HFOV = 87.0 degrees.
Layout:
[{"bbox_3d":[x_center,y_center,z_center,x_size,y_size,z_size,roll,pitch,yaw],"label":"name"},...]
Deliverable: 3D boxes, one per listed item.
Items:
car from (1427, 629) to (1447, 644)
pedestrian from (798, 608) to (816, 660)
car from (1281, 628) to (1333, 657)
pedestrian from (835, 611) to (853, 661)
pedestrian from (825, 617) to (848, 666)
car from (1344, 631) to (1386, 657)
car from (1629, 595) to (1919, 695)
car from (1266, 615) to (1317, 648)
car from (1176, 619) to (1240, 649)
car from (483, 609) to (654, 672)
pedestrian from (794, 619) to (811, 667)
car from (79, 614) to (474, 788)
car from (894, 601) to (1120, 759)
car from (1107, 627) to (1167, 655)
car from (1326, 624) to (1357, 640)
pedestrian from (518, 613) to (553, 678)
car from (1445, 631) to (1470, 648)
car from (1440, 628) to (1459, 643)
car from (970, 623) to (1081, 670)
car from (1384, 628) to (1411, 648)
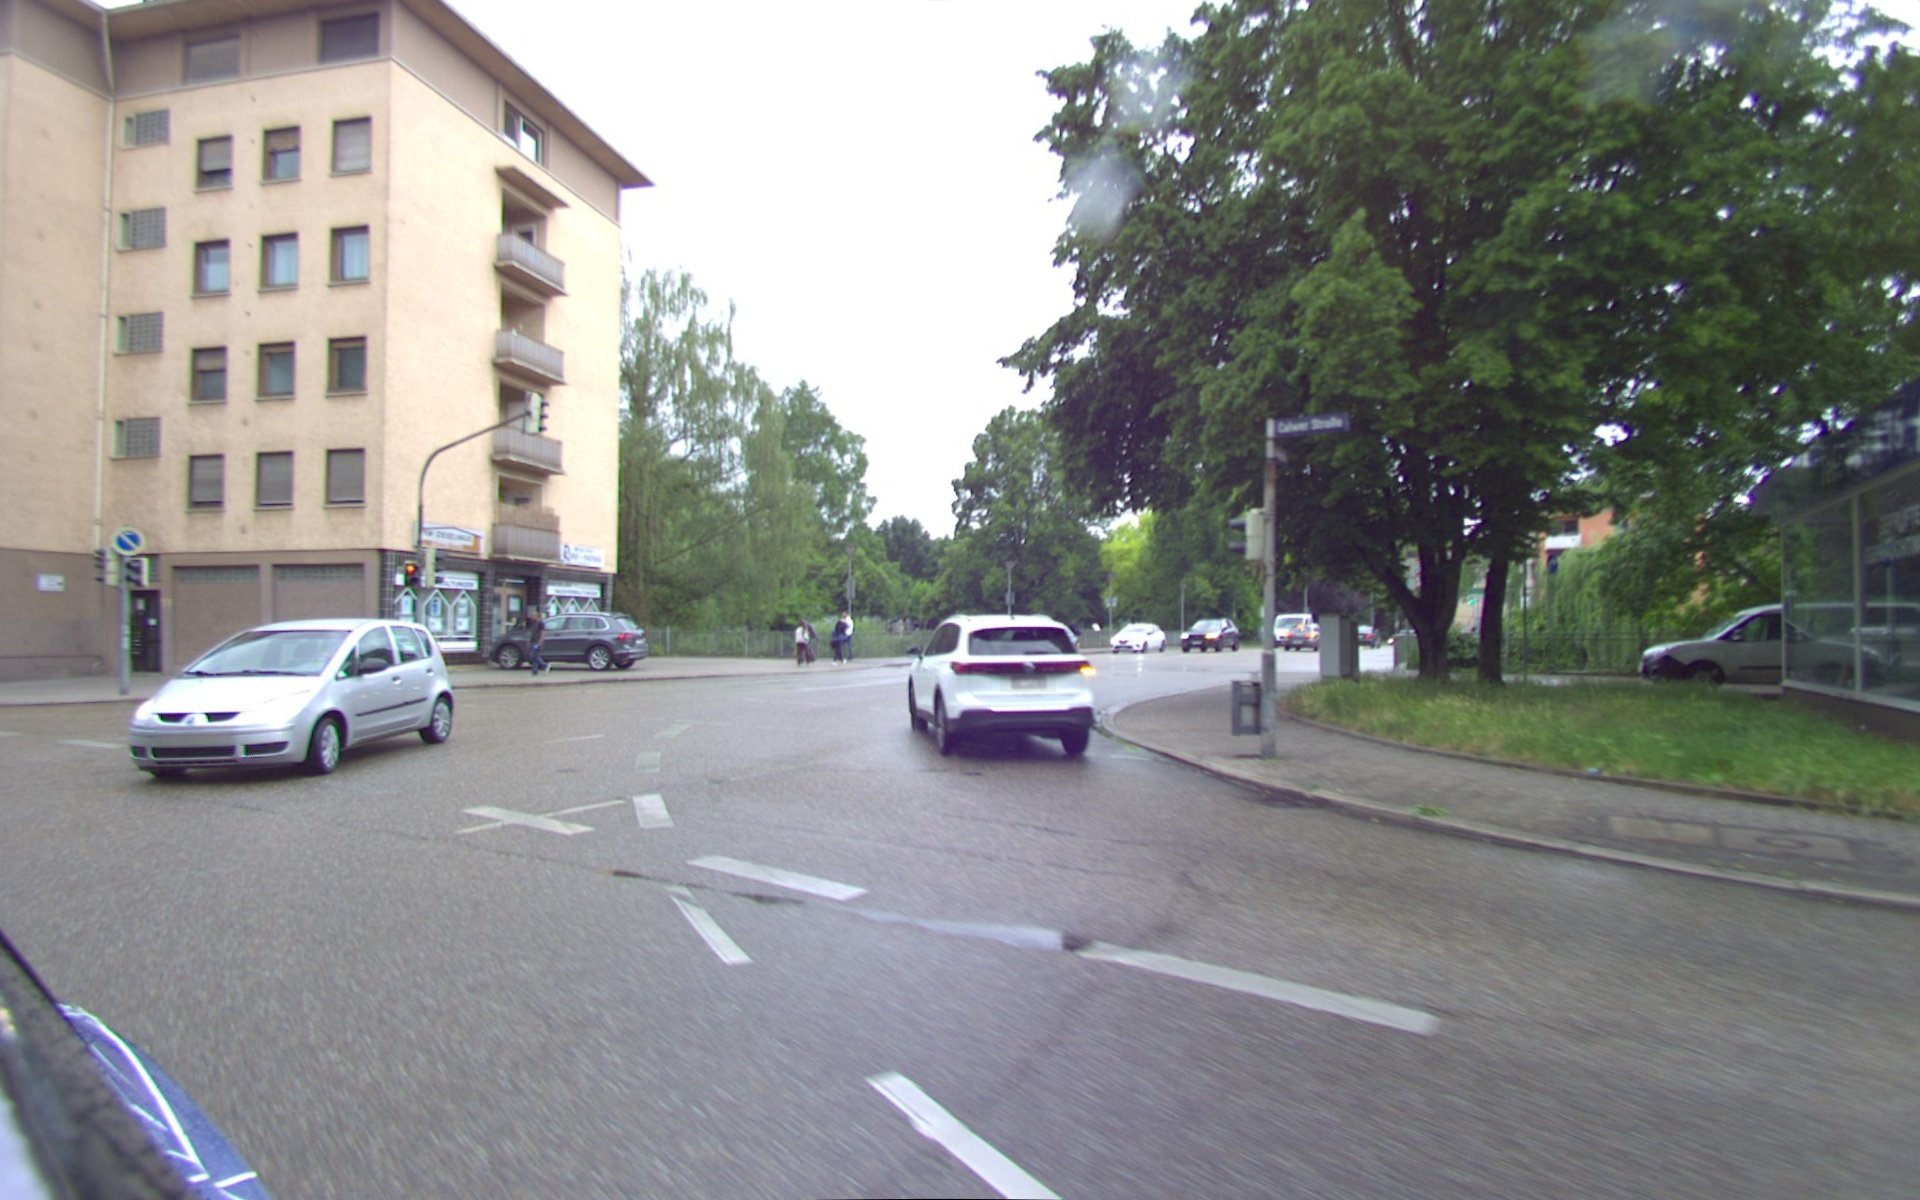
[{"bbox_3d":[50.795,3.894,107.720,1.752,1.618,3.961,-1,-2,28],"label":"car"},{"bbox_3d":[-5.348,1.184,35.336,0.550,1.817,0.478,1,-2,-19],"label":"pedestrian"},{"bbox_3d":[18.403,2.244,53.615,1.753,1.498,3.962,-1,-3,32],"label":"car"},{"bbox_3d":[-4.248,1.314,37.134,0.501,1.817,0.499,1,-2,-34],"label":"pedestrian"},{"bbox_3d":[-4.204,1.400,34.465,0.691,1.659,0.662,0,-2,-17],"label":"pedestrian"},{"bbox_3d":[26.694,2.892,66.628,1.826,1.601,4.276,-1,-3,32],"label":"car"},{"bbox_3d":[16.524,0.898,20.435,4.717,1.844,1.965,-1,-3,25],"label":"car"},{"bbox_3d":[21.236,1.999,64.730,2.210,2.017,4.329,-1,-2,30],"label":"car"},{"bbox_3d":[12.318,1.677,50.161,1.993,1.448,3.957,-1,-2,31],"label":"car"},{"bbox_3d":[-11.184,1.146,29.045,4.228,1.660,1.757,1,-2,5],"label":"car"},{"bbox_3d":[-5.203,1.416,33.437,0.456,1.595,0.441,0,-2,5],"label":"pedestrian"},{"bbox_3d":[-7.141,0.952,11.145,1.728,1.530,4.001,-1,-1,-1],"label":"car"},{"bbox_3d":[0.388,0.954,13.200,1.813,1.684,4.484,1,-2,-13],"label":"car"},{"bbox_3d":[8.914,2.028,50.792,1.647,1.319,3.957,-1,-2,31],"label":"car"},{"bbox_3d":[31.476,2.619,83.466,1.744,1.319,3.957,-1,-2,31],"label":"car"},{"bbox_3d":[-10.915,1.164,26.045,0.617,1.651,0.575,-2,-3,36],"label":"pedestrian"},{"bbox_3d":[44.694,3.526,90.907,1.676,1.517,3.908,-1,-3,30],"label":"car"},{"bbox_3d":[57.469,4.165,118.791,1.752,1.618,3.961,-1,-2,28],"label":"car"},{"bbox_3d":[2.294,1.531,34.222,1.992,1.474,4.459,-1,-2,30],"label":"car"},{"bbox_3d":[37.705,3.268,87.144,1.752,1.725,3.961,-1,-2,28],"label":"car"}]
